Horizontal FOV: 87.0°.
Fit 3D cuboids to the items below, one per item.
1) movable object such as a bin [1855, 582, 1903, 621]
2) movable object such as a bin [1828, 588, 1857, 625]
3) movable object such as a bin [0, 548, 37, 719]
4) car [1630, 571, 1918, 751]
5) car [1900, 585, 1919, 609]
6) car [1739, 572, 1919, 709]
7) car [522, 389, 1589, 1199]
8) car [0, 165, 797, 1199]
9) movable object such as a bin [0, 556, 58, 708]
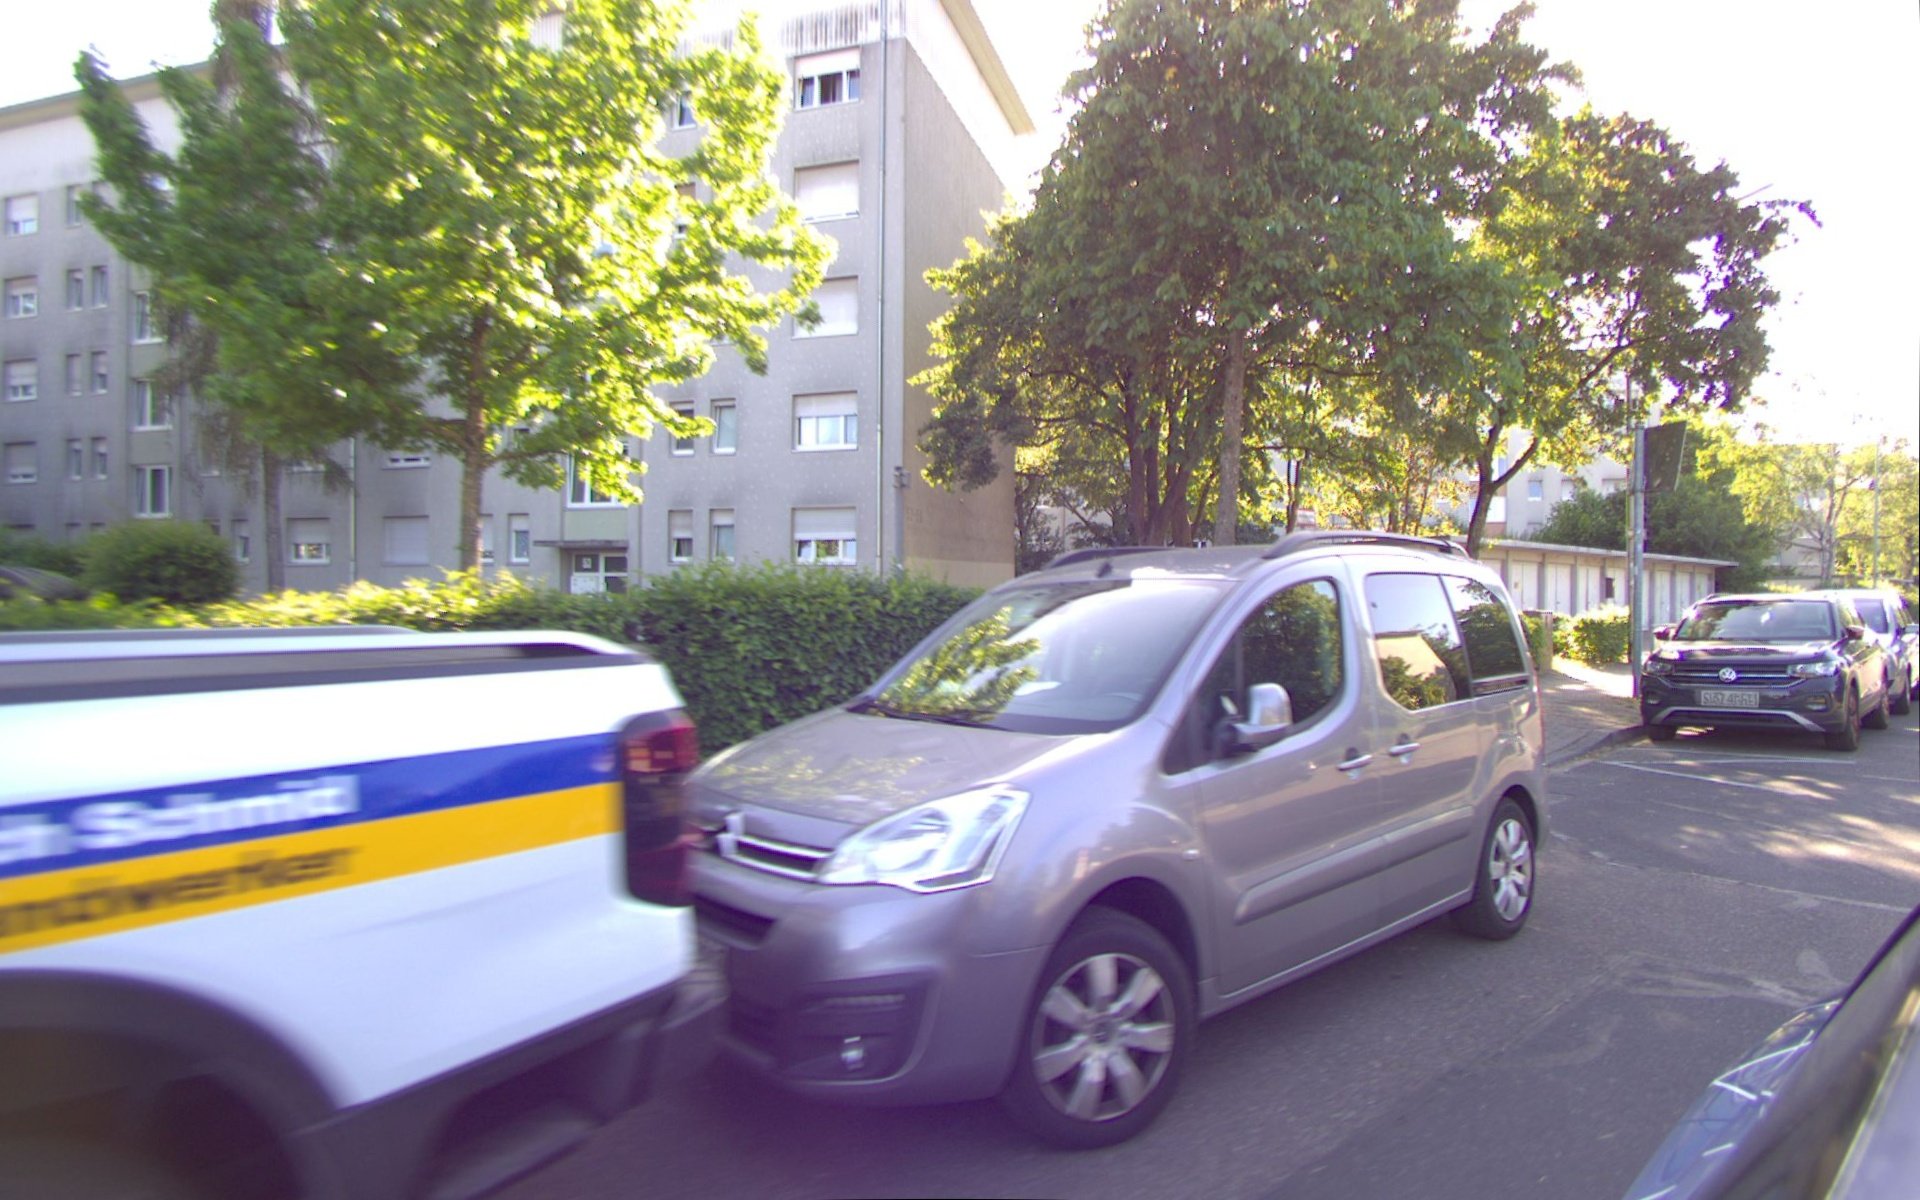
[{"bbox_3d":[36.523,0.046,40.206,1.160,1.459,1.276,-1,3,-42],"label":"movable object such as a bin"},{"bbox_3d":[35.429,0.245,40.641,0.834,1.459,0.753,-1,3,-42],"label":"movable object such as a bin"},{"bbox_3d":[-8.631,0.282,8.741,0.817,1.434,1.079,-1,1,-35],"label":"movable object such as a bin"},{"bbox_3d":[9.019,0.550,11.106,3.954,1.614,1.806,-1,-1,-42],"label":"car"},{"bbox_3d":[64.998,-0.240,67.357,3.493,1.527,1.578,-2,-1,44],"label":"car"},{"bbox_3d":[12.570,0.458,14.287,4.298,1.630,1.770,0,2,-43],"label":"car"},{"bbox_3d":[0.787,0.510,4.222,4.475,1.814,1.836,1,-2,-41],"label":"car"},{"bbox_3d":[-2.855,0.443,0.849,5.183,1.864,1.909,0,-2,-42],"label":"car"},{"bbox_3d":[-9.479,0.300,9.913,0.817,1.434,1.079,-1,1,-35],"label":"movable object such as a bin"}]
